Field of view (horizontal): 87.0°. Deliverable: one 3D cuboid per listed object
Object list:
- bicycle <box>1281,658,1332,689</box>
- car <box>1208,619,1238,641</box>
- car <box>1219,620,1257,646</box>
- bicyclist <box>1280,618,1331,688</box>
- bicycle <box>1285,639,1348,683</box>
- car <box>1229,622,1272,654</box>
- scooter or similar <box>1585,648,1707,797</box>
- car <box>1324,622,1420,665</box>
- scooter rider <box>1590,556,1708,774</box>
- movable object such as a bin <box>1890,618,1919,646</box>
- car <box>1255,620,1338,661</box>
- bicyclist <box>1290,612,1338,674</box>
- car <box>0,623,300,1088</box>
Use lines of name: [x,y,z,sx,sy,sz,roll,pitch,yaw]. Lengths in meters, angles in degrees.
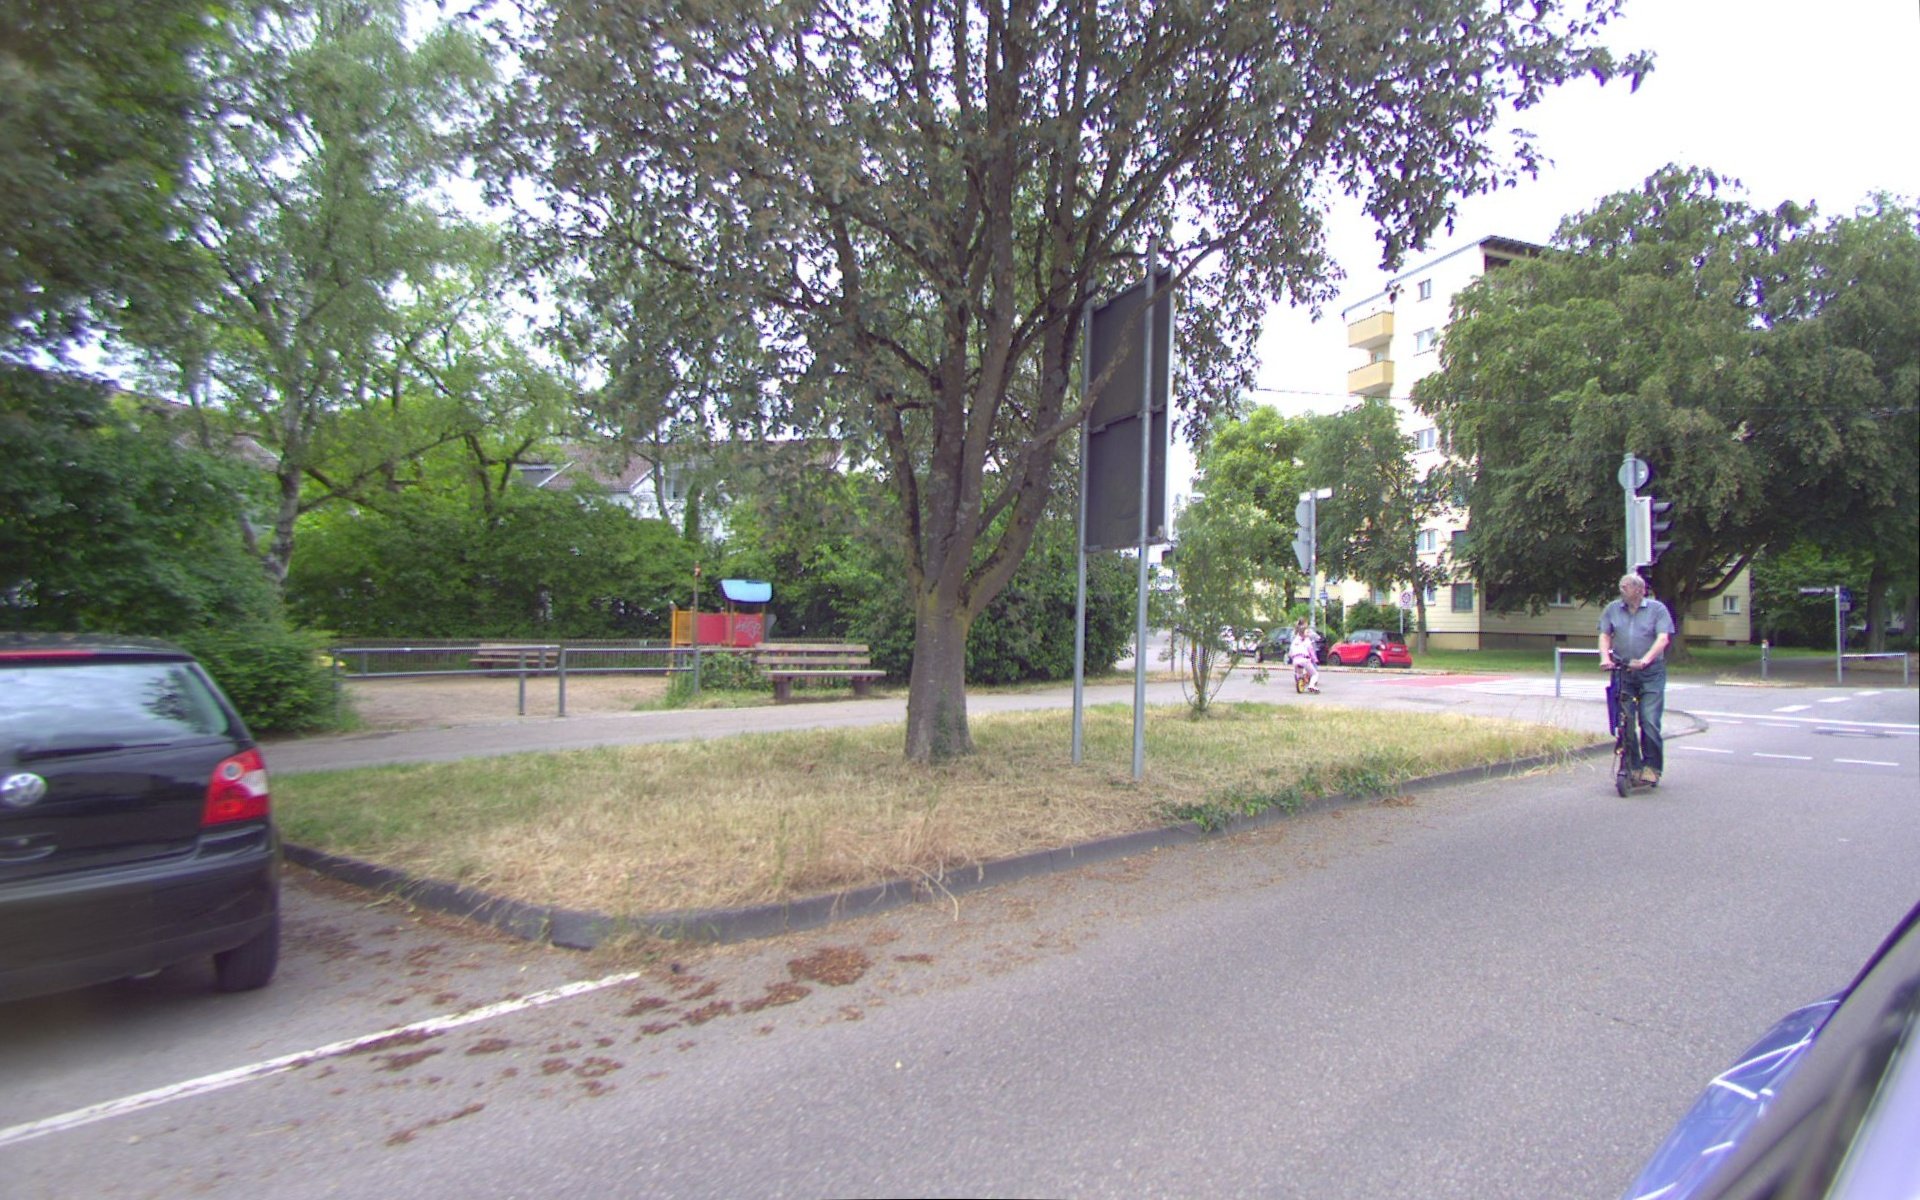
bicycle: [6.103,1.282,17.814,0.517,0.504,0.973,0,-2,42]
car: [18.733,2.129,72.203,1.767,1.430,4.057,1,0,11]
car: [15.784,1.859,57.545,1.767,1.372,4.057,1,0,11]
bicyclist: [6.098,0.924,17.835,0.517,1.202,0.952,-1,-3,42]
bicycle: [6.979,1.173,19.782,0.638,0.768,1.656,-1,-1,40]
car: [14.711,1.893,51.439,1.767,1.452,4.057,1,0,11]
scooter or similar: [5.968,1.008,8.779,0.681,1.154,1.437,-1,-3,42]
car: [15.255,1.612,37.614,1.661,1.526,2.924,2,-3,-27]
scooter rider: [6.004,0.545,8.808,0.681,1.753,1.178,-1,-3,42]
movable object such as a bin: [57.756,1.948,61.783,1.001,1.663,1.278,0,1,-36]
car: [13.959,1.676,42.186,1.781,1.612,3.829,0,-2,-7]
bicyclist: [6.890,0.826,19.692,0.638,1.177,0.792,-1,-1,40]
car: [-4.378,0.862,4.634,1.550,1.495,3.716,1,-2,-45]
